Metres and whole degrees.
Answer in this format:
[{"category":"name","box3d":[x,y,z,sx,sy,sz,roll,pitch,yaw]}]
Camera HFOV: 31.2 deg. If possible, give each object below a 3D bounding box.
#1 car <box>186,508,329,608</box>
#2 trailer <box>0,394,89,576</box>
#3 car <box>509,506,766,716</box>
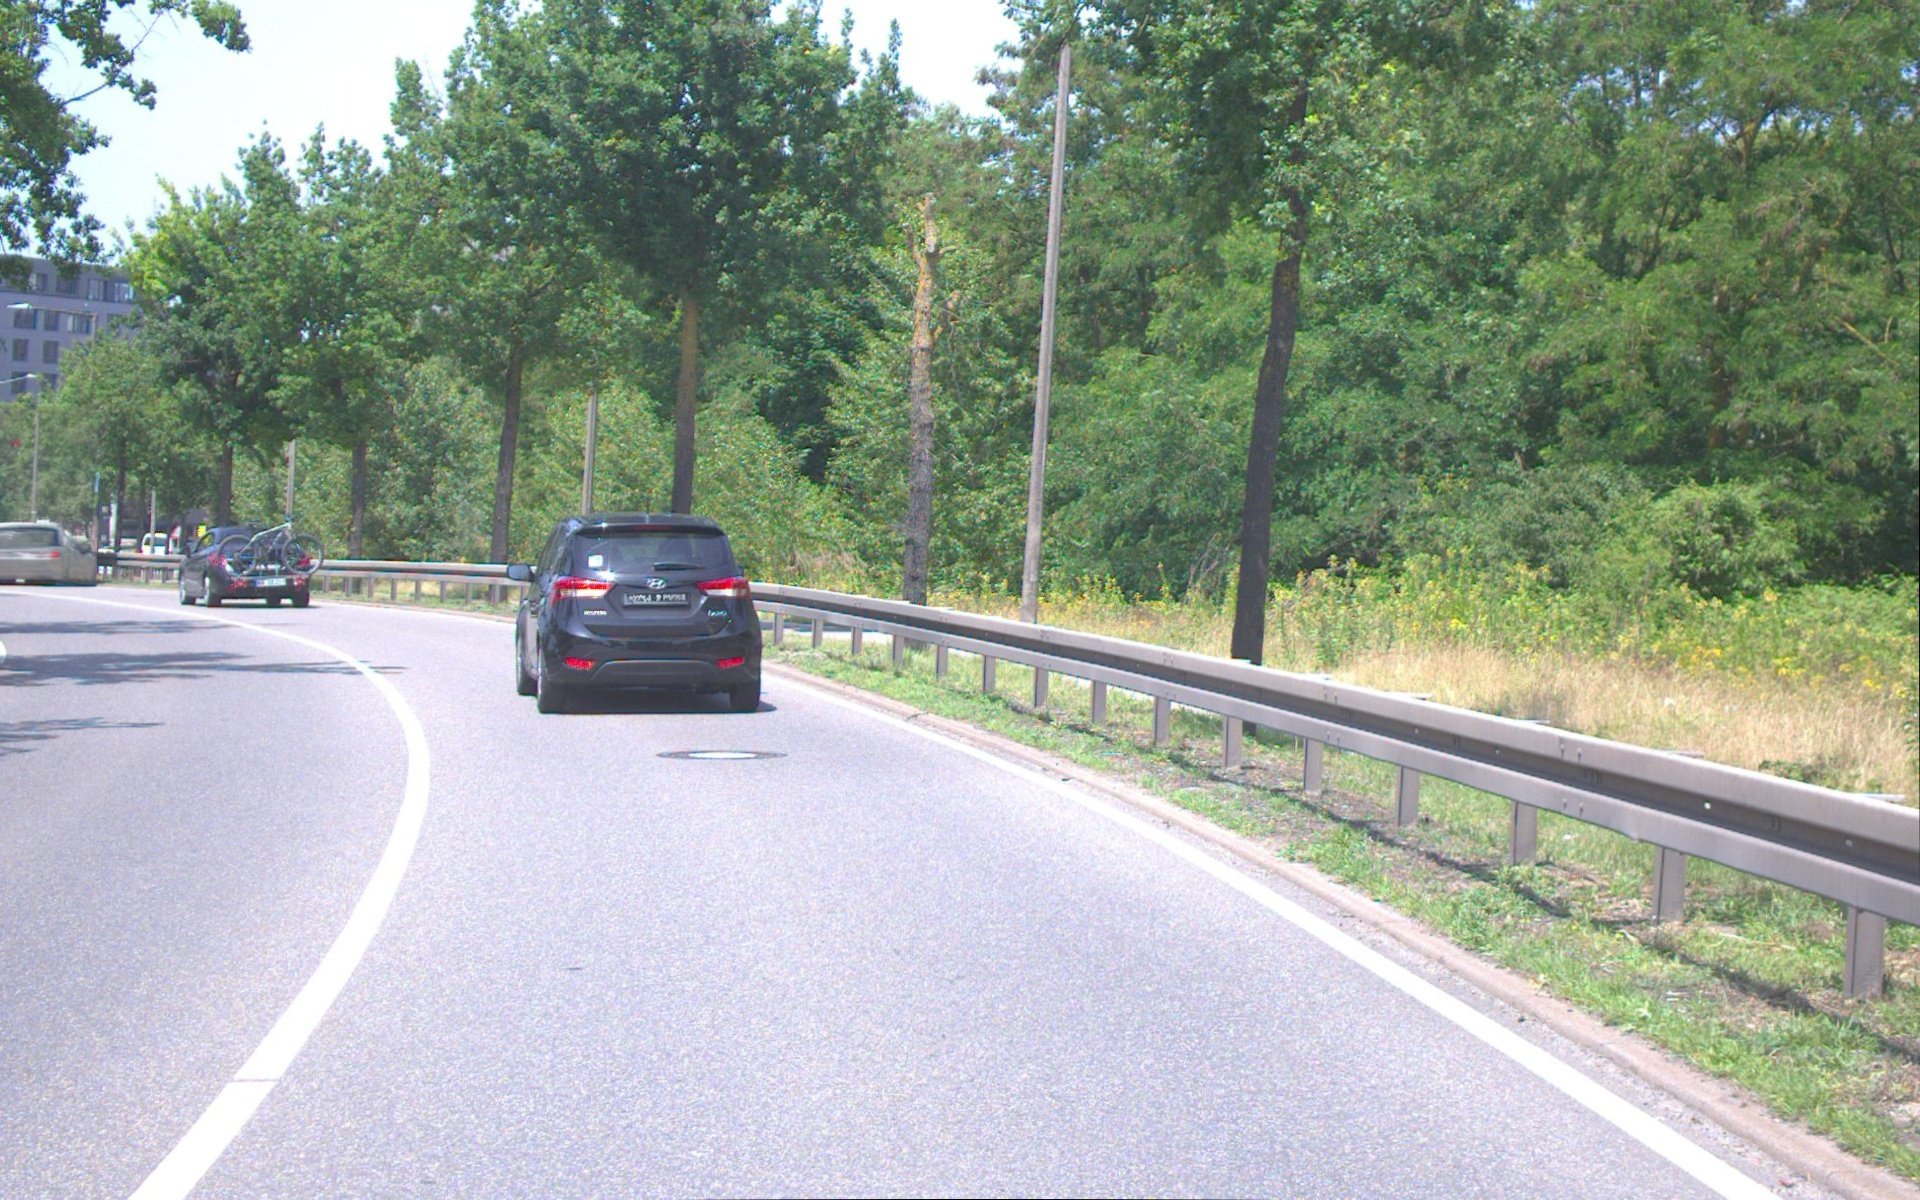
[{"category":"car","box3d":[-12.277,-0.738,59.880,1.956,1.628,4.281,1,1,-18]},{"category":"trailer","box3d":[-25.353,-3.125,90.416,3.077,4.353,14.780,2,2,-20]},{"category":"car","box3d":[-2.749,0.049,28.552,1.766,1.593,4.079,1,1,-10]}]
